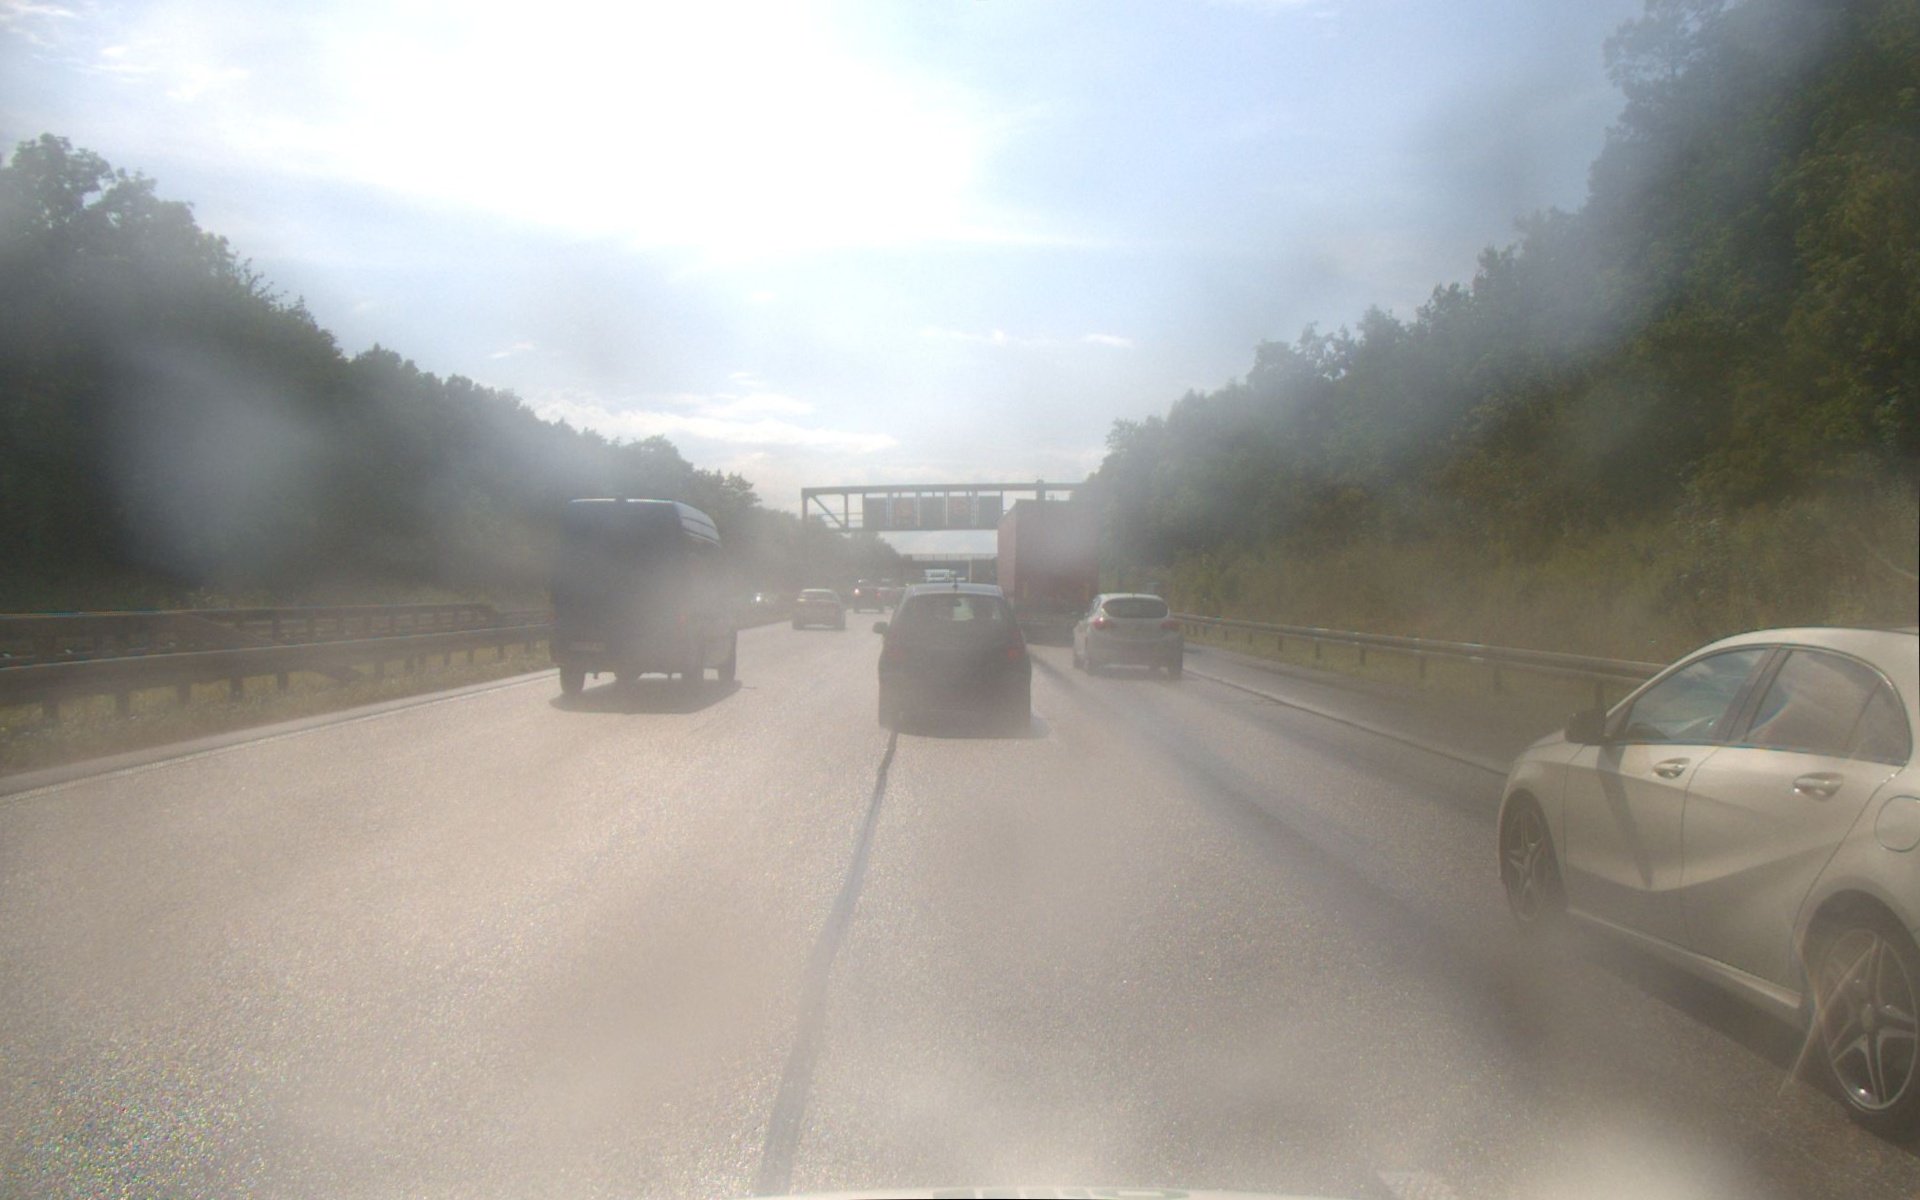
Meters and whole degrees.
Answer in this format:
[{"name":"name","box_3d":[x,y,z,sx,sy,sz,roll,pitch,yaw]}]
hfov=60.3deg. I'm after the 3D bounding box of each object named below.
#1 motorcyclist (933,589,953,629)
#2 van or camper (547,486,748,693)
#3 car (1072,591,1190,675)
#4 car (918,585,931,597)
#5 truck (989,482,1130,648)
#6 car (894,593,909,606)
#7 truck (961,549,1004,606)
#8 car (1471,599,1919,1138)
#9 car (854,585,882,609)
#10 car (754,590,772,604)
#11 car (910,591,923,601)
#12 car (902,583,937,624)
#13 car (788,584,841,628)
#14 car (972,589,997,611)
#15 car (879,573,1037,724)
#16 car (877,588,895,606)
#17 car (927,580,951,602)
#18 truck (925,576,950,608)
[{"name":"motorcyclist","box_3d":[-0.706,0.373,68.607,0.785,1.662,1.013,1,0,-3]},{"name":"van or camper","box_3d":[-4.485,-0.145,24.610,1.953,2.715,5.384,1,0,0]},{"name":"car","box_3d":[3.166,0.576,31.253,1.647,1.467,3.903,1,0,-3]},{"name":"car","box_3d":[-5.405,-1.385,251.710,1.953,1.764,3.999,1,0,-1]},{"name":"truck","box_3d":[3.071,-1.043,57.001,3.575,4.803,16.776,1,0,-1]},{"name":"car","box_3d":[-6.005,-0.076,169.919,1.518,1.289,3.482,1,0,-3]},{"name":"truck","box_3d":[1.767,-1.808,138.487,3.190,4.558,12.419,1,0,-1]},{"name":"car","box_3d":[3.409,0.741,6.119,1.658,1.450,4.219,1,0,-1]},{"name":"car","box_3d":[-5.939,-0.183,107.097,1.716,1.482,3.388,1,0,-3]},{"name":"car","box_3d":[-19.708,-0.327,165.668,1.477,1.346,3.334,1,0,-1]},{"name":"car","box_3d":[-5.566,-0.517,210.581,1.518,1.289,3.482,1,0,-3]},{"name":"car","box_3d":[-1.863,0.150,74.952,1.501,1.777,3.483,1,0,-3]},{"name":"car","box_3d":[-5.436,0.203,62.051,1.817,1.578,3.483,1,0,-3]},{"name":"car","box_3d":[1.626,0.015,110.725,1.521,1.407,3.208,1,0,-3]},{"name":"car","box_3d":[-0.096,0.520,19.586,1.683,1.595,3.483,1,0,-3]},{"name":"car","box_3d":[-5.826,-0.241,130.221,1.431,1.418,3.310,1,0,-3]},{"name":"car","box_3d":[-1.434,-0.600,112.703,1.521,1.407,3.208,1,0,-3]},{"name":"truck","box_3d":[-2.112,-0.745,155.543,2.148,2.925,4.847,1,0,-3]}]
